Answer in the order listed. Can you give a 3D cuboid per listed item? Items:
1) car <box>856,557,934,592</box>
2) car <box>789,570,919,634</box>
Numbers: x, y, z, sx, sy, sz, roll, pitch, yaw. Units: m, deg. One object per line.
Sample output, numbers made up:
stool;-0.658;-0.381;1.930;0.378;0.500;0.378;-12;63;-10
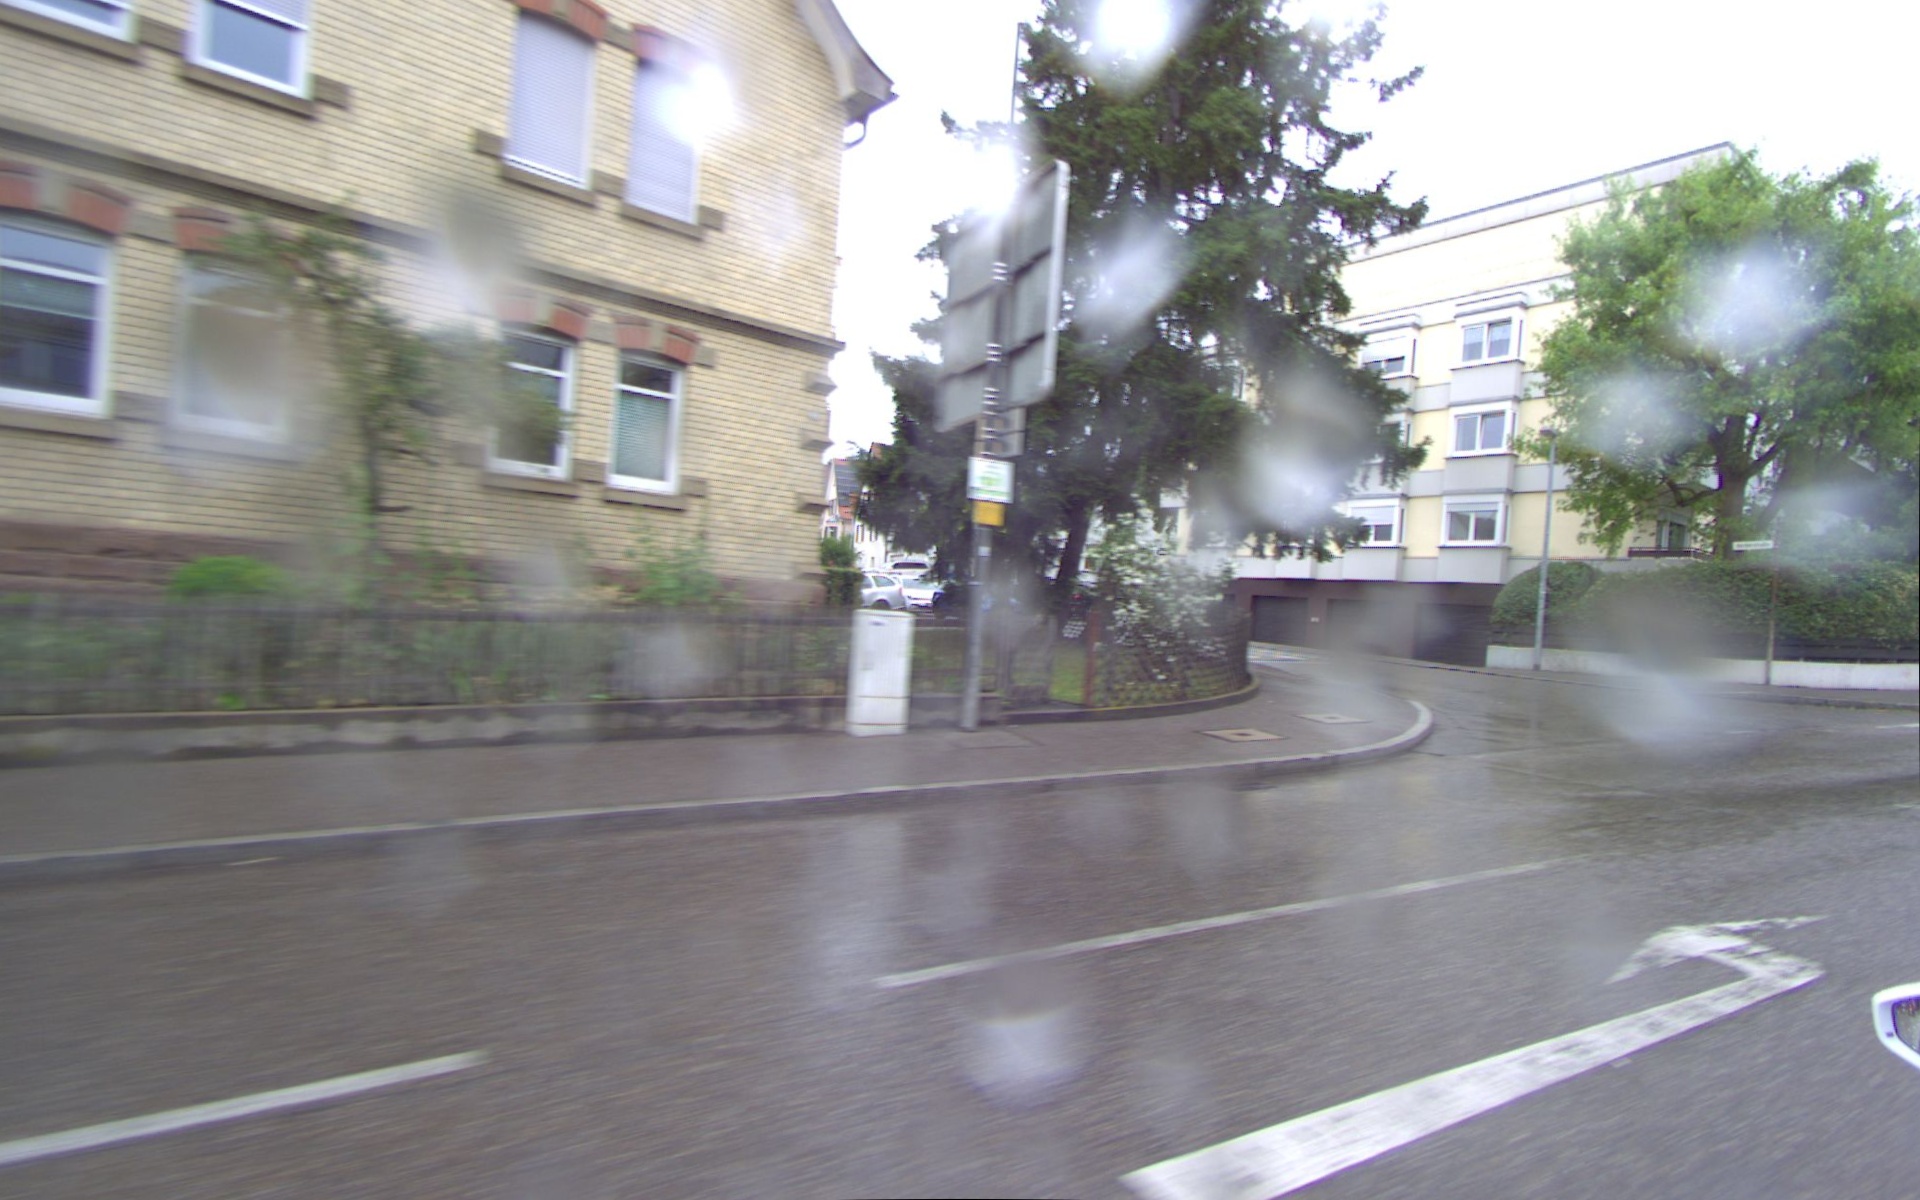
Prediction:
car;-4.349;-1.691;67.278;4.831;2.180;1.988;1;2;-25
car;-3.117;0.067;29.681;3.351;1.789;1.806;1;1;-36
